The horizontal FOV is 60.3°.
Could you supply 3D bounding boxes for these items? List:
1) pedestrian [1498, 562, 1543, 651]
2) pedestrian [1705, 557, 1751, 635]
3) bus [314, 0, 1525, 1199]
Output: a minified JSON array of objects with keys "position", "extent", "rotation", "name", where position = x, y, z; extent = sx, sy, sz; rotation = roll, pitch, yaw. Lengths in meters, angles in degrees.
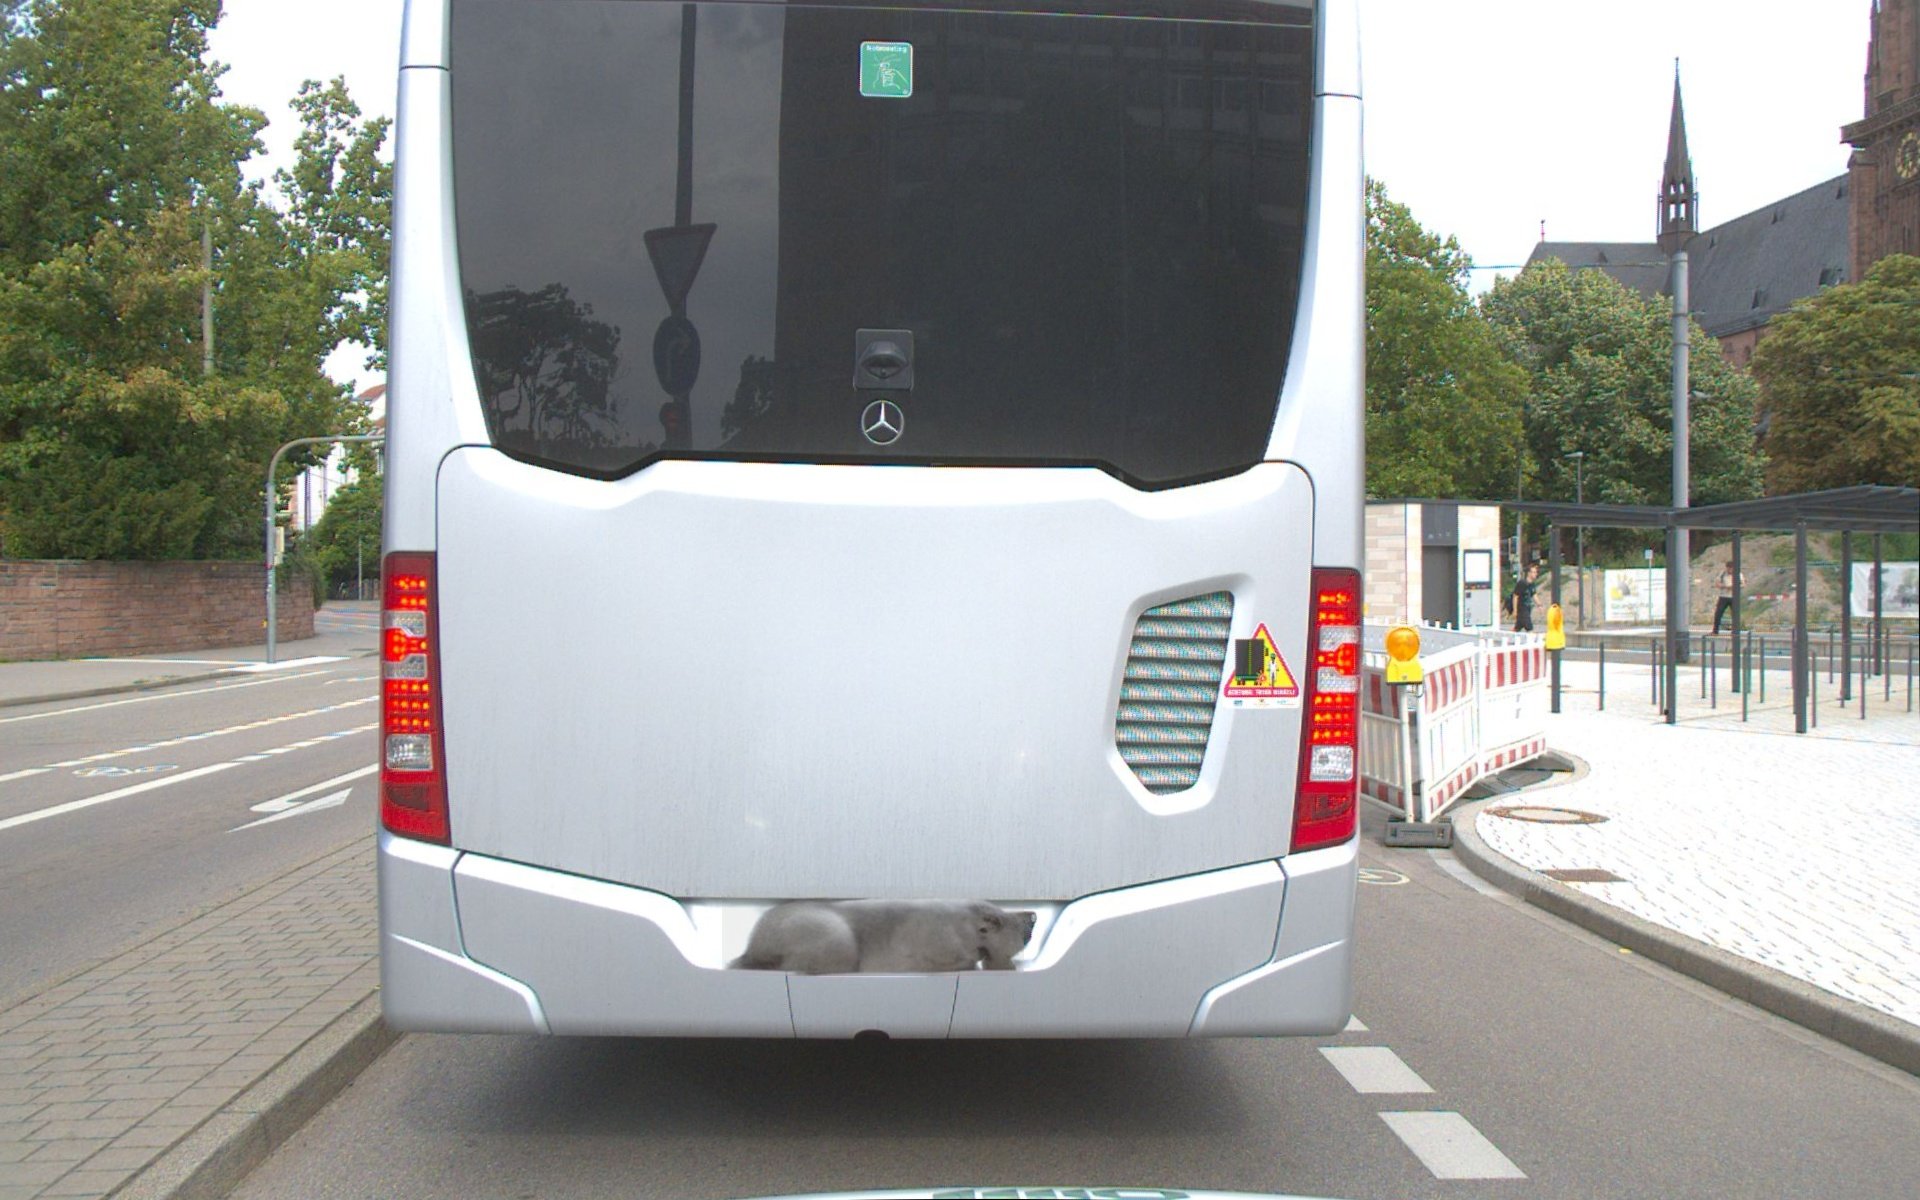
[{"position":[10.819,0.119,31.916],"extent":[0.526,1.683,0.621],"rotation":[-2,3,-38],"name":"pedestrian"},{"position":[18.416,-0.101,39.680],"extent":[0.803,1.832,0.753],"rotation":[0,3,9],"name":"pedestrian"},{"position":[-0.317,-0.277,10.715],"extent":[2.650,3.498,14.177],"rotation":[0,0,-2],"name":"bus"}]
